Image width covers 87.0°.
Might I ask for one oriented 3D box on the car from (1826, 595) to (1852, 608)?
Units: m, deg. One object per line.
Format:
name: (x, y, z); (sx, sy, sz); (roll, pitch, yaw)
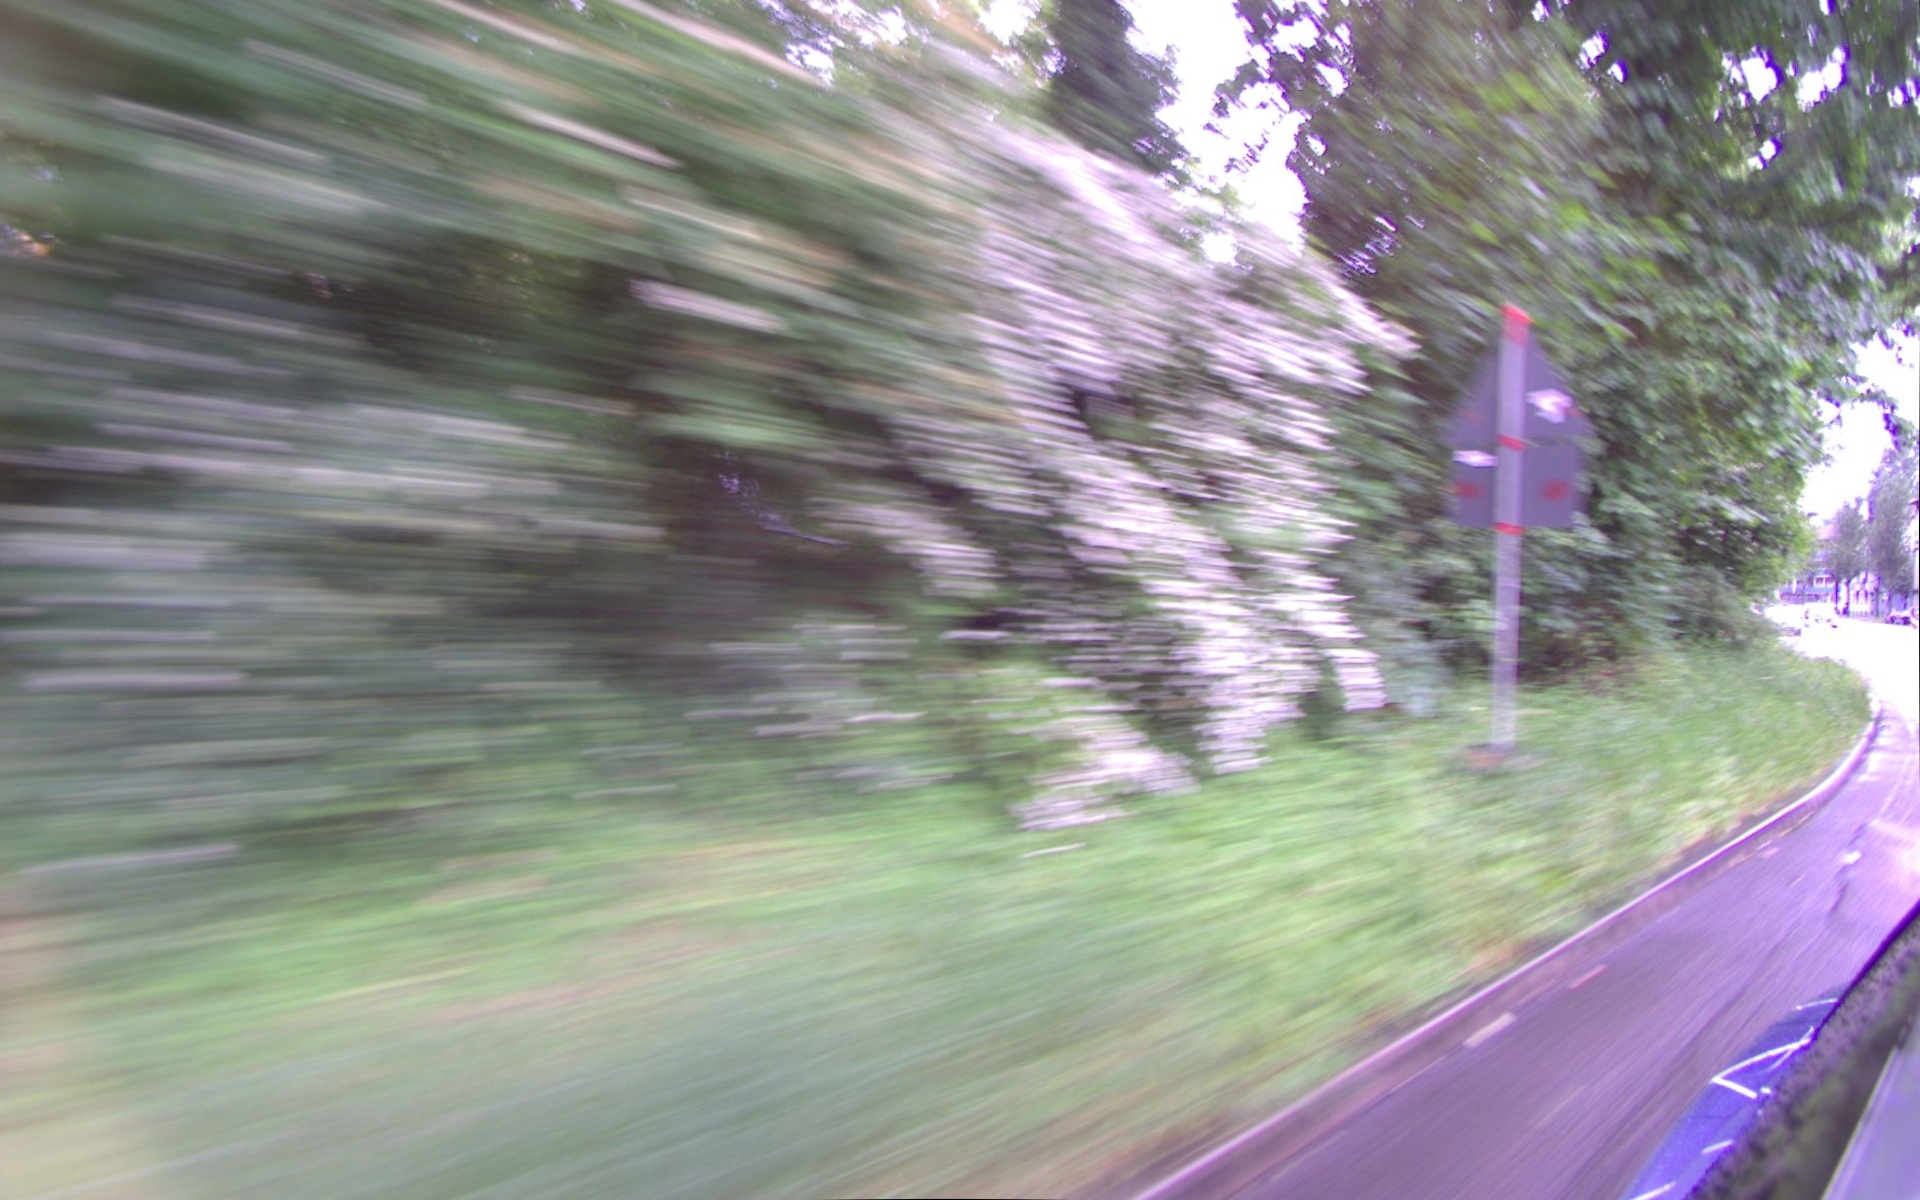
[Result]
car: (116.083, 0.232, 133.752); (1.854, 1.587, 4.127); (2, 1, 31)

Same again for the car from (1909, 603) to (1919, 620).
car: (91.027, 1.140, 95.262); (1.858, 1.587, 4.119); (3, 1, 36)

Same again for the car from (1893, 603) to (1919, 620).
car: (94.314, 1.145, 100.566); (1.858, 1.620, 4.119); (2, 1, 36)

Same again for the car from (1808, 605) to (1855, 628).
car: (62.252, 1.180, 72.361); (1.986, 1.482, 3.953); (2, 1, 33)
